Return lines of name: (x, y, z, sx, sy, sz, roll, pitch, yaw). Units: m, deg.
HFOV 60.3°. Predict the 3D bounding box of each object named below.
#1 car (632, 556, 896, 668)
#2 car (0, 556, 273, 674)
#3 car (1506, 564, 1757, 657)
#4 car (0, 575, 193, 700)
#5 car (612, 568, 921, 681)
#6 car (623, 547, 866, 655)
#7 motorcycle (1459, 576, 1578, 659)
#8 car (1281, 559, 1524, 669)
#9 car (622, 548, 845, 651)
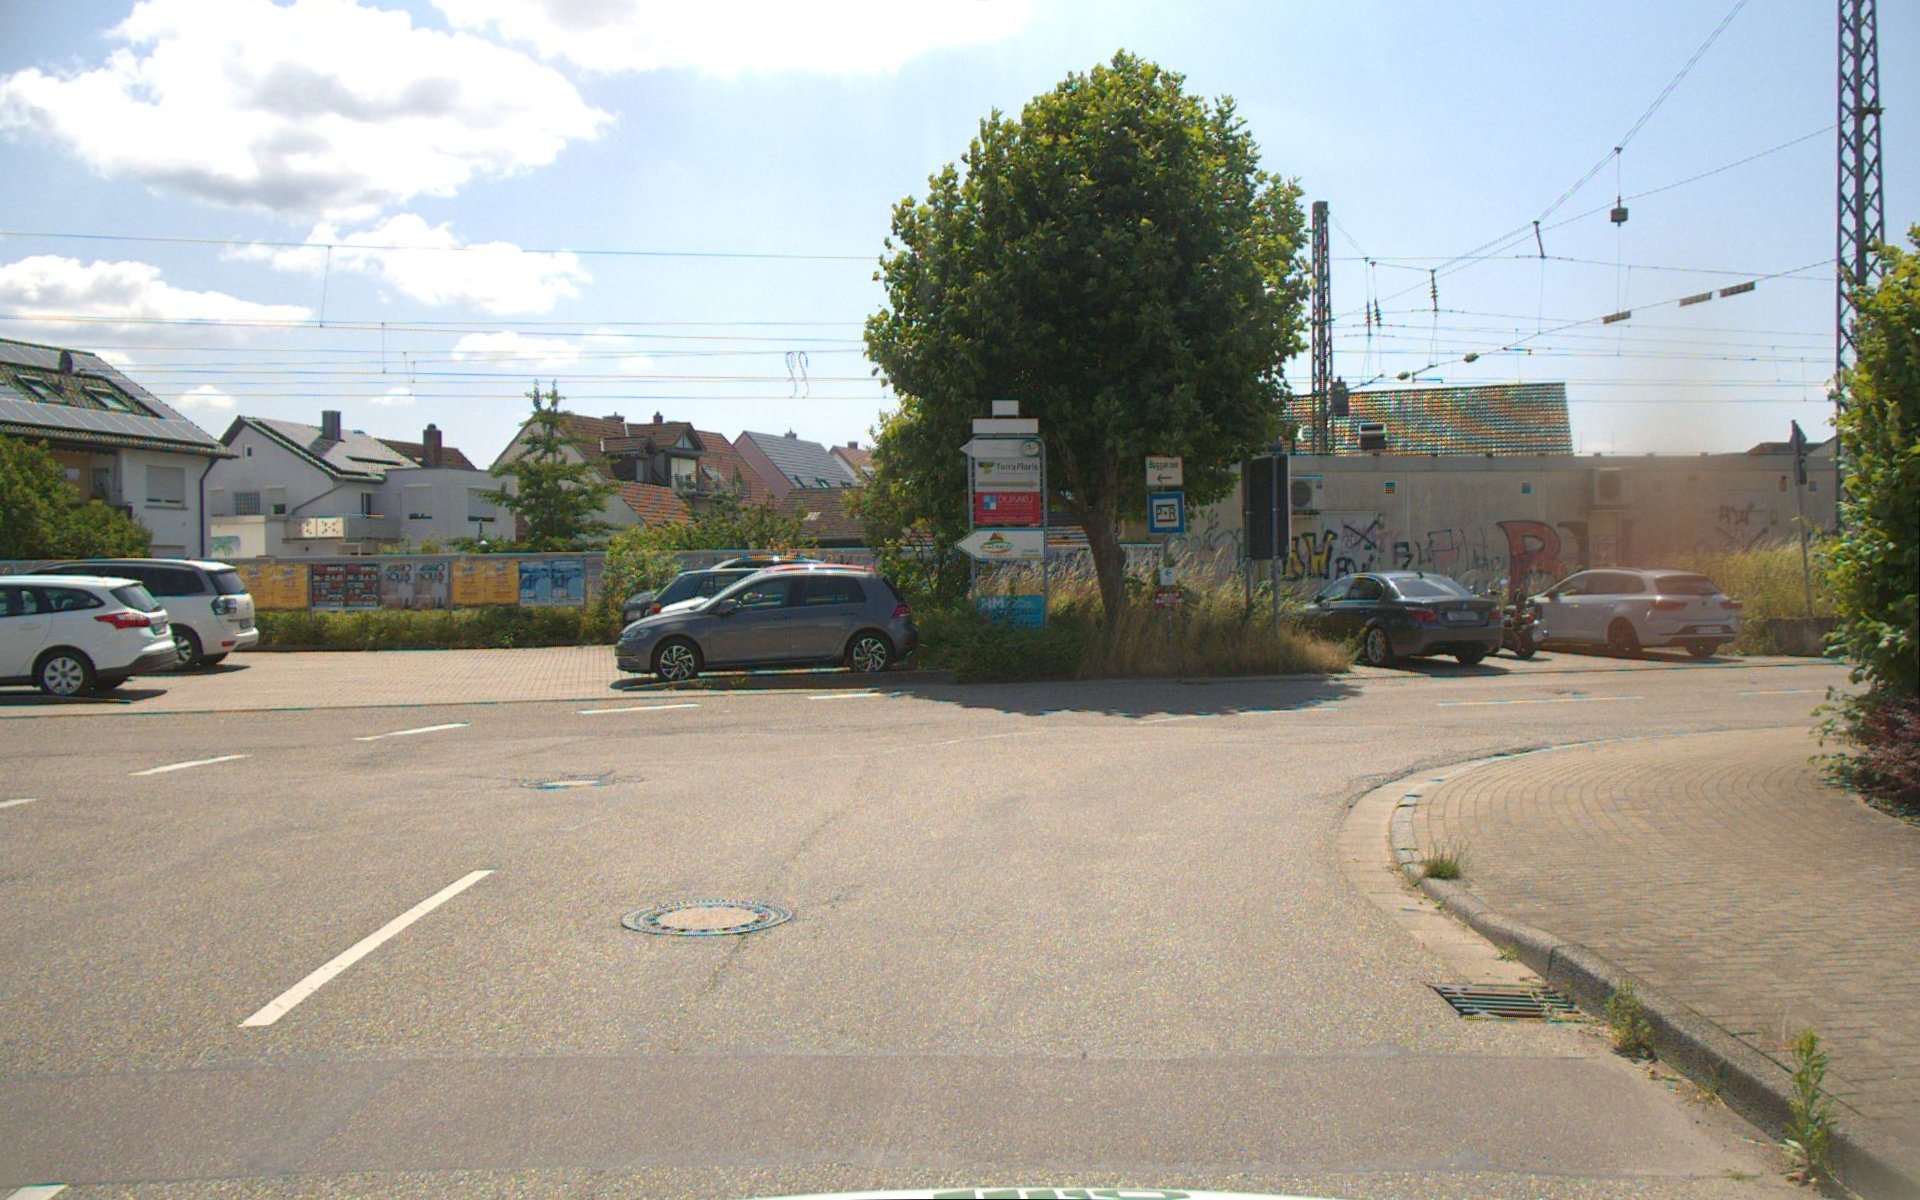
car: (-3.047, 0.170, 25.612, 3.914, 1.614, 1.776, -1, 0, -10)
car: (-13.164, 0.193, 25.501, 4.369, 1.720, 1.996, 0, 2, -9)
car: (11.266, 0.131, 28.055, 1.677, 1.401, 4.092, 0, 2, -19)
car: (-12.200, 0.437, 20.892, 4.208, 1.502, 1.822, 1, 0, -13)
car: (-2.678, 0.315, 22.936, 4.110, 1.488, 1.661, 0, 0, -9)
car: (-3.648, -0.011, 27.927, 3.914, 1.686, 1.995, -1, 1, -10)
motorcycle: (9.165, 0.259, 27.223, 0.882, 1.250, 1.987, -1, 2, -16)
car: (6.913, 0.171, 26.249, 1.726, 1.410, 3.978, 1, 4, -20)
car: (-4.163, -0.004, 30.397, 3.914, 1.760, 1.766, 1, 0, -10)
